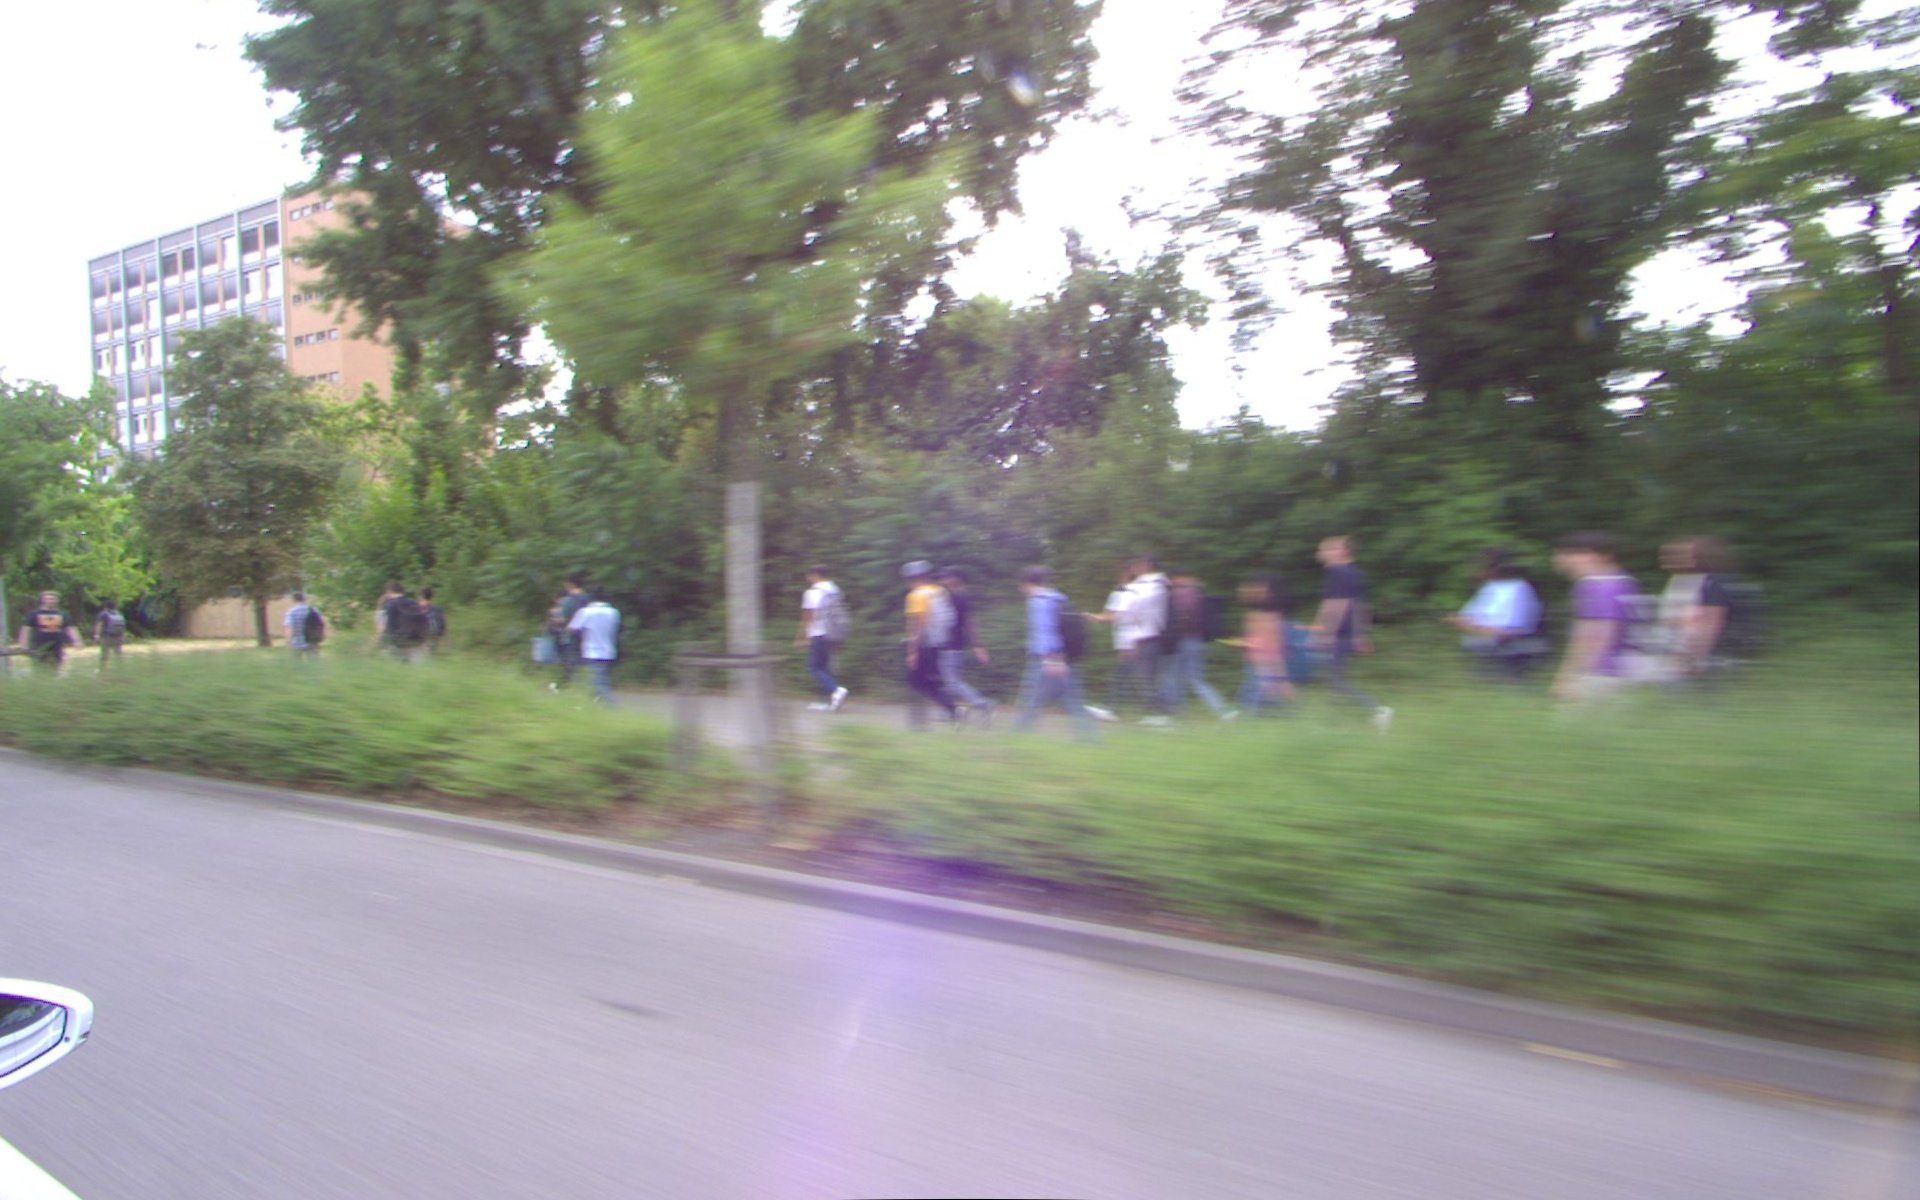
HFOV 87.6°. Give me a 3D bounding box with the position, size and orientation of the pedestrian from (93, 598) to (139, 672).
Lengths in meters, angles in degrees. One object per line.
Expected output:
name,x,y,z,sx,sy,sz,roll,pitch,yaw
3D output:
pedestrian,-19.928,0.811,23.647,0.737,1.705,0.586,0,1,31

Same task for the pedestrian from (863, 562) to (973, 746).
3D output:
pedestrian,-0.404,0.501,9.783,0.829,1.712,0.656,0,1,29

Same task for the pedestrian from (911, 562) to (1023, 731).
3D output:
pedestrian,0.077,0.467,10.518,0.956,1.689,0.656,0,1,29

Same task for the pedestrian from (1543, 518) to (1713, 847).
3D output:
pedestrian,3.859,0.447,5.843,0.768,1.768,0.623,0,1,29

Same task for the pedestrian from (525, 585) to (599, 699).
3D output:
pedestrian,-5.802,0.595,14.593,0.774,1.605,0.634,0,1,31

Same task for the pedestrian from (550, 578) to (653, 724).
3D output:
pedestrian,-4.195,0.570,11.731,0.800,1.624,0.774,0,1,31

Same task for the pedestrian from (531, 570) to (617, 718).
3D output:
pedestrian,-5.012,0.552,13.005,0.800,1.846,0.654,0,1,31

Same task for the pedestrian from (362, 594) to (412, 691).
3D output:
pedestrian,-9.992,0.730,17.459,0.643,1.655,0.467,0,1,31

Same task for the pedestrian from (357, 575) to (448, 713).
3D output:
pedestrian,-7.757,0.586,13.941,0.940,1.846,0.691,0,1,31

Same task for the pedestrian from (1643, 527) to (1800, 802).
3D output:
pedestrian,5.209,0.418,6.899,0.768,1.768,0.656,0,1,29

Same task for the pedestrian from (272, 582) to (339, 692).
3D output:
pedestrian,-10.829,0.598,16.570,0.802,1.759,0.618,0,1,31

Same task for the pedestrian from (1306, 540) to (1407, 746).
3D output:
pedestrian,3.600,0.375,9.074,0.768,1.768,0.656,0,1,29

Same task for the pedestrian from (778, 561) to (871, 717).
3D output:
pedestrian,-1.600,0.444,11.892,0.800,1.768,0.720,0,1,31

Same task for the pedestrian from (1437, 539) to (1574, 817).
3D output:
pedestrian,3.691,0.500,6.797,0.777,1.768,0.580,0,1,29

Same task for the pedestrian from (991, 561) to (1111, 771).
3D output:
pedestrian,0.773,0.525,8.420,0.800,1.670,0.656,0,1,29

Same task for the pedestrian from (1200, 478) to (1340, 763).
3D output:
pedestrian,2.083,0.131,6.704,0.768,1.768,0.656,0,1,29

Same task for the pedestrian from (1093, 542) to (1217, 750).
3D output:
pedestrian,1.779,0.401,9.117,0.943,1.790,0.656,0,1,29

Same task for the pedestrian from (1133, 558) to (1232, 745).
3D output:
pedestrian,2.158,0.475,9.698,0.768,1.722,0.656,0,1,29

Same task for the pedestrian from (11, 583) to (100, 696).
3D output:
pedestrian,-15.367,0.648,17.043,0.924,1.855,0.882,-2,1,-32

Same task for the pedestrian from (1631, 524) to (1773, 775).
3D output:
pedestrian,5.529,0.350,7.509,0.768,1.768,0.656,0,1,29

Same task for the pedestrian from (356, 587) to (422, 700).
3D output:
pedestrian,-8.715,0.653,15.296,0.742,1.677,0.554,0,1,31

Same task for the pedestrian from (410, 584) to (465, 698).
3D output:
pedestrian,-8.378,0.639,16.053,0.654,1.787,0.483,0,1,31
